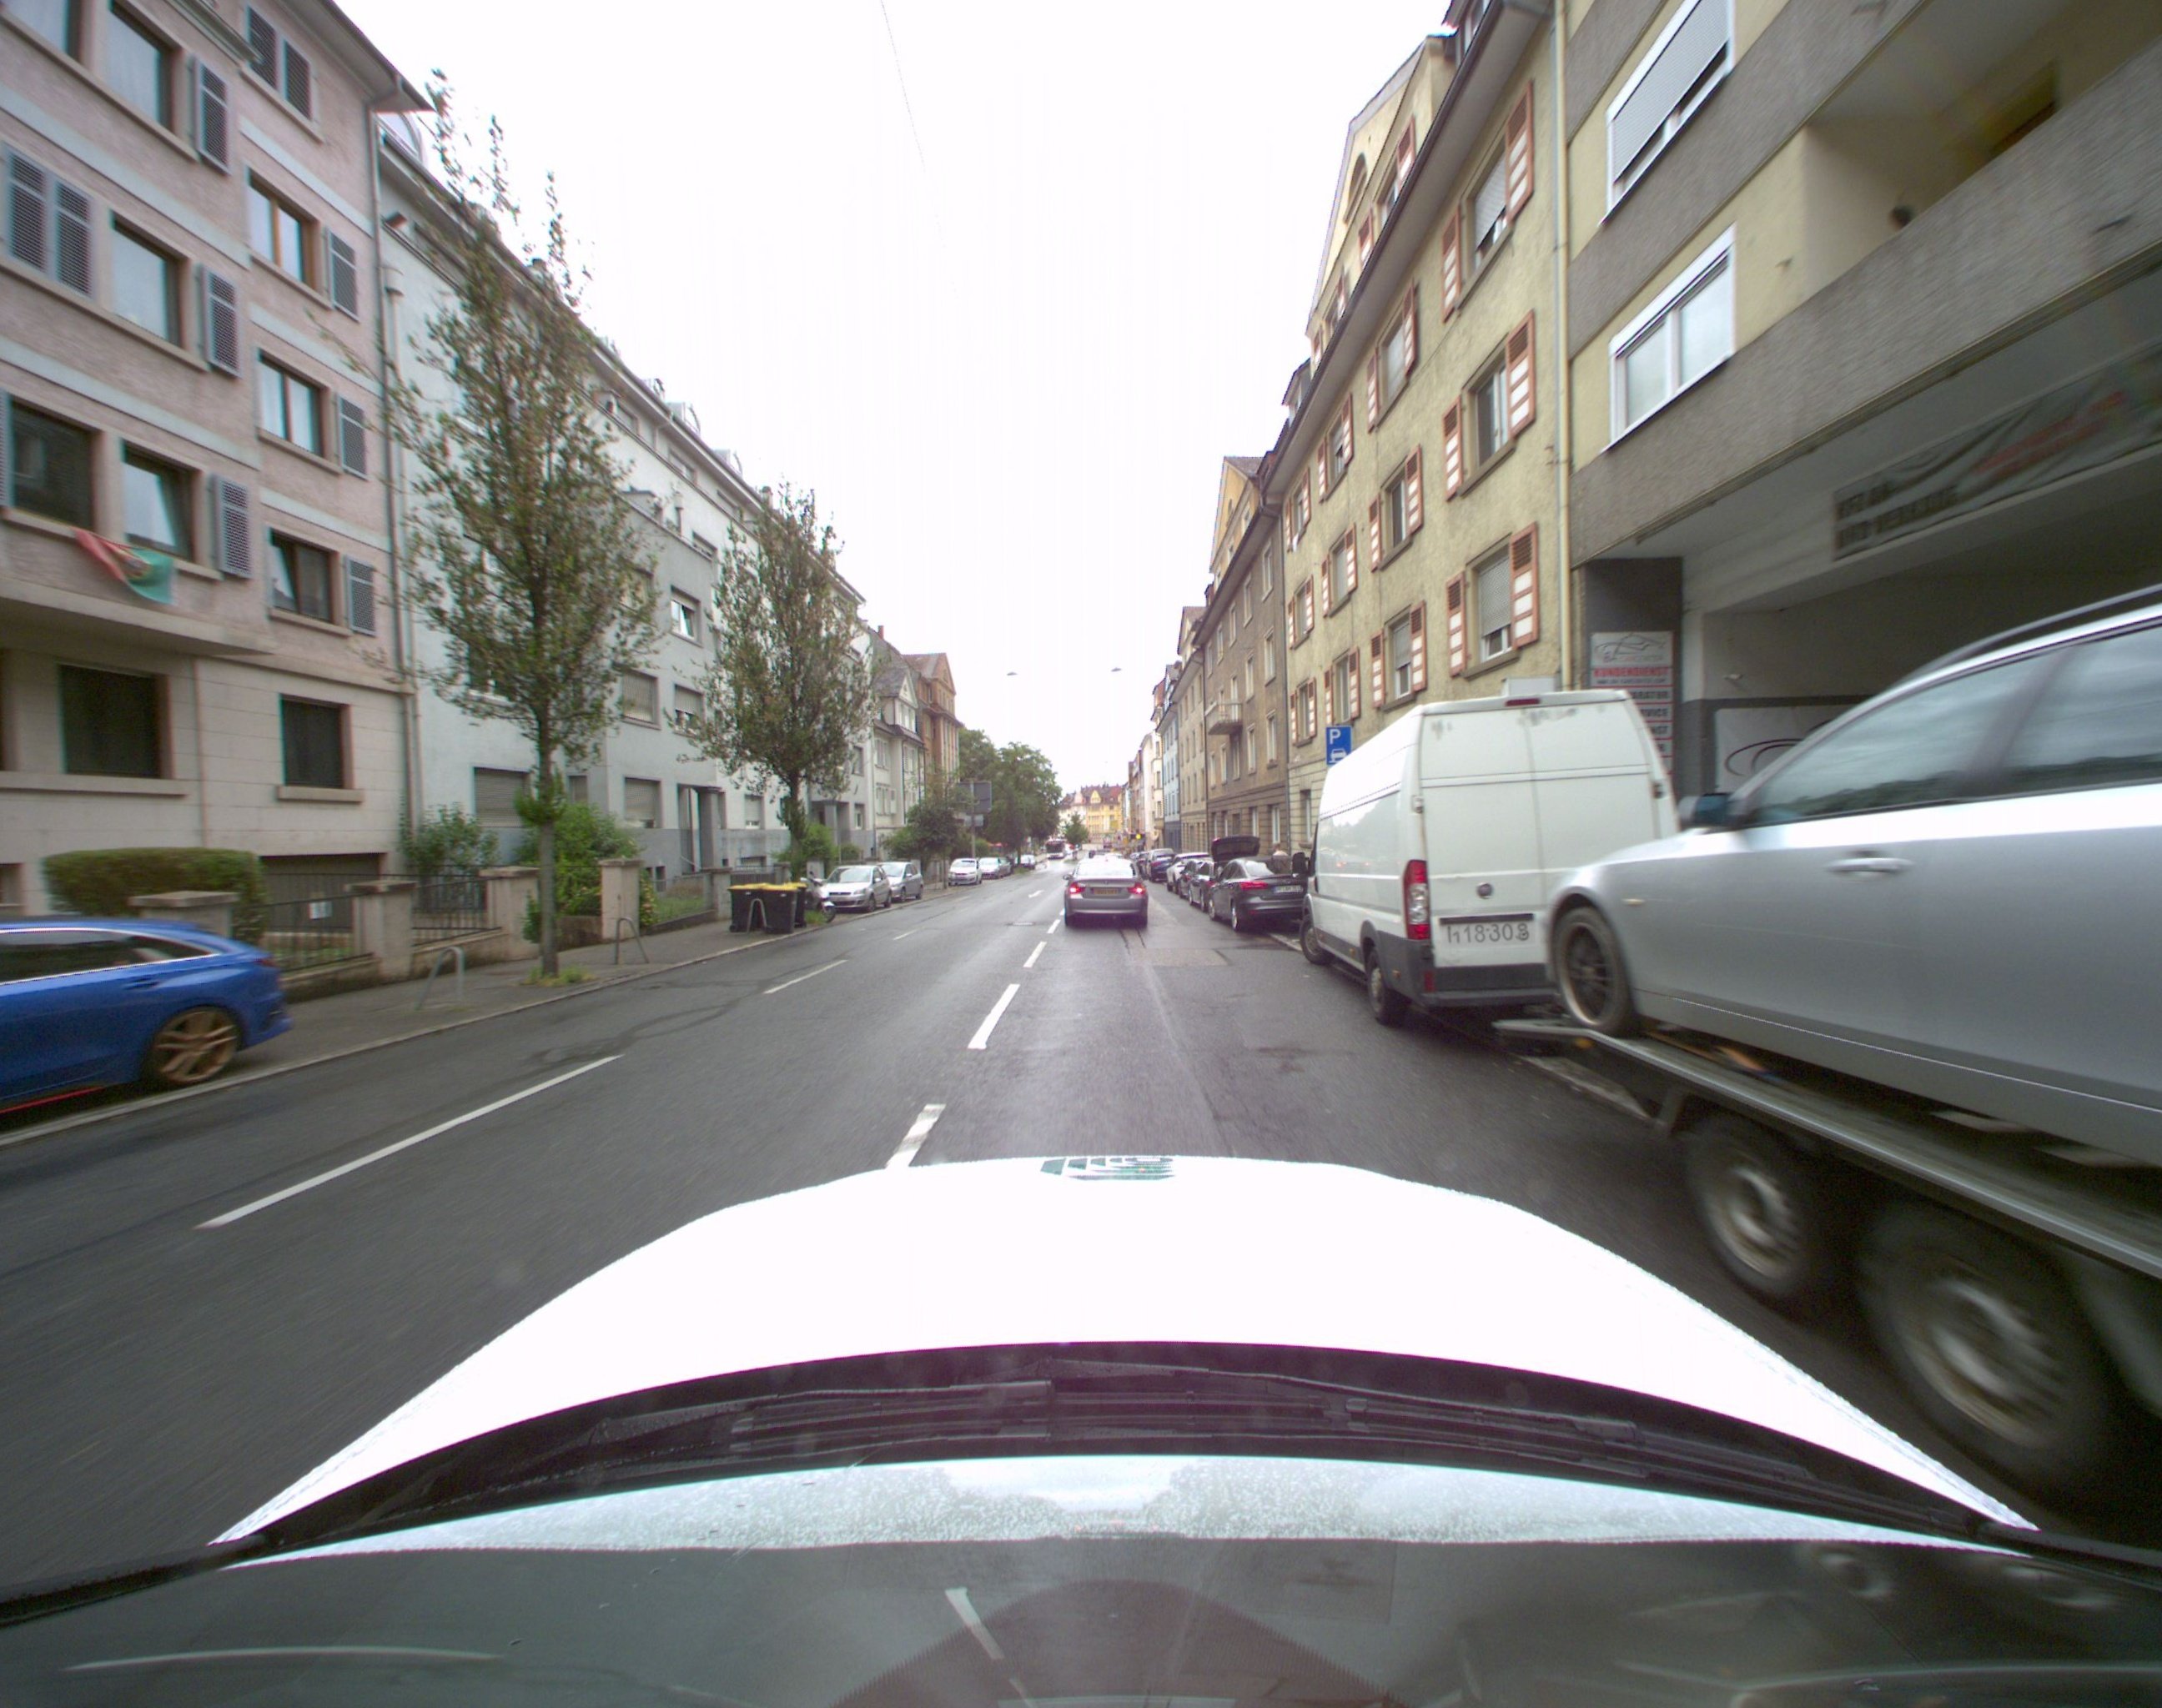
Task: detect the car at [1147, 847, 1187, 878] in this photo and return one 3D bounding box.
[{"bbox_3d":[4.670,0.427,44.601,1.784,1.548,4.227,-3,0,2],"label":"car"}]

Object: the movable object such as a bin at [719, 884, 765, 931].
[{"bbox_3d":[-7.849,1.227,18.887,0.821,1.058,0.484,1,-1,2],"label":"movable object such as a bin"}]

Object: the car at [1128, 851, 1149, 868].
[{"bbox_3d":[5.577,0.544,78.951,1.811,1.558,4.295,-3,0,2],"label":"car"}]

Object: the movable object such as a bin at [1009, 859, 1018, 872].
[{"bbox_3d":[-5.656,0.993,68.056,0.627,1.058,0.600,-1,-1,1],"label":"movable object such as a bin"}]

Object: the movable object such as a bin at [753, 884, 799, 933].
[{"bbox_3d":[-6.921,1.237,18.489,0.821,1.058,0.484,2,-1,2],"label":"movable object such as a bin"}]

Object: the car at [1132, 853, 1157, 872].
[{"bbox_3d":[5.197,0.656,67.158,1.723,1.429,3.974,-4,0,1],"label":"car"}]

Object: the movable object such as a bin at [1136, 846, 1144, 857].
[{"bbox_3d":[9.384,-0.435,129.516,1.119,1.702,1.433,-2,-1,-1],"label":"movable object such as a bin"}]

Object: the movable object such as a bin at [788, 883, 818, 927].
[{"bbox_3d":[-6.875,1.253,20.122,0.522,1.058,0.484,2,-1,2],"label":"movable object such as a bin"}]

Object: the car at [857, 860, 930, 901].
[{"bbox_3d":[-7.115,0.966,31.306,1.593,1.451,3.892,-1,-1,5],"label":"car"}]

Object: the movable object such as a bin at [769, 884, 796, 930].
[{"bbox_3d":[-7.041,1.249,19.245,0.471,1.058,0.482,2,-1,-8],"label":"movable object such as a bin"}]

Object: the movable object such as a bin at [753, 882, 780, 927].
[{"bbox_3d":[-7.700,1.239,19.939,0.471,1.058,0.482,2,-1,-8],"label":"movable object such as a bin"}]

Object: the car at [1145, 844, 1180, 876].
[{"bbox_3d":[5.042,0.363,51.090,1.784,1.817,4.080,-3,0,1],"label":"car"}]

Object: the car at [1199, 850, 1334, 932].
[{"bbox_3d":[3.766,0.708,17.272,1.773,1.479,4.186,-1,-1,-2],"label":"car"}]

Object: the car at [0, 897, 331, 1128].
[{"bbox_3d":[-7.752,1.076,5.149,1.673,1.386,4.603,-1,-1,1],"label":"car"}]

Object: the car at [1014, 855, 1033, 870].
[{"bbox_3d":[-5.810,0.875,82.341,1.648,1.454,3.941,-1,0,0],"label":"car"}]

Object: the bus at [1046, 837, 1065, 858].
[{"bbox_3d":[-4.135,-1.005,136.016,2.672,3.201,11.954,2,-1,0],"label":"bus"}]

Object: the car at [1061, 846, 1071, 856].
[{"bbox_3d":[-3.068,-0.700,172.244,1.987,2.014,3.999,2,-1,0],"label":"car"}]

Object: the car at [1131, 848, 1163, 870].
[{"bbox_3d":[4.659,0.329,57.773,1.835,1.409,4.387,-3,0,0],"label":"car"}]

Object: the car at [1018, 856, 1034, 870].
[{"bbox_3d":[-5.808,0.922,86.750,1.628,1.454,3.836,-1,0,-3],"label":"car"}]

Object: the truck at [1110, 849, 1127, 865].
[{"bbox_3d":[5.609,0.454,122.387,2.210,2.116,4.649,3,0,-2],"label":"truck"}]

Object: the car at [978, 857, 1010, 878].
[{"bbox_3d":[-6.041,0.902,57.062,1.676,1.390,3.911,0,0,2],"label":"car"}]

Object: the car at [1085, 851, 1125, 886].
[{"bbox_3d":[1.040,0.646,36.689,1.597,1.420,3.286,2,-1,-1],"label":"car"}]

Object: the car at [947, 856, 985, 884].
[{"bbox_3d":[-6.584,0.922,46.878,1.640,1.508,3.795,-1,-1,0],"label":"car"}]

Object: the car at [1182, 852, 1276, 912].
[{"bbox_3d":[4.020,0.736,22.876,1.772,1.479,4.587,-1,-1,0],"label":"car"}]

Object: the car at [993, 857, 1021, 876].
[{"bbox_3d":[-5.777,0.955,64.255,1.676,1.390,3.937,-2,0,2],"label":"car"}]

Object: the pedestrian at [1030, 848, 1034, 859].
[{"bbox_3d":[-7.812,-0.101,130.127,0.542,1.709,0.465,2,-1,-6],"label":"pedestrian"}]

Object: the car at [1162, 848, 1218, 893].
[{"bbox_3d":[4.352,0.636,33.025,1.627,1.638,4.194,2,0,0],"label":"car"}]

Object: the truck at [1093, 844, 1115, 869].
[{"bbox_3d":[2.492,0.292,89.741,2.209,2.544,4.779,2,-1,0],"label":"truck"}]

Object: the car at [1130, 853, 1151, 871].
[{"bbox_3d":[5.209,0.696,71.504,1.577,1.429,3.595,-4,0,1],"label":"car"}]

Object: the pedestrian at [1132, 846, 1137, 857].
[{"bbox_3d":[8.521,-0.391,129.462,0.746,1.661,0.756,2,-1,7],"label":"pedestrian"}]

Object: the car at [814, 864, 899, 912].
[{"bbox_3d":[-7.139,1.035,26.240,1.595,1.396,3.887,-1,-1,0],"label":"car"}]

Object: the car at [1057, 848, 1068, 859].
[{"bbox_3d":[-3.499,-0.050,156.724,1.987,2.014,3.999,2,-1,0],"label":"car"}]

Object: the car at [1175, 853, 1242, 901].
[{"bbox_3d":[4.234,0.731,27.505,1.627,1.478,3.734,2,0,0],"label":"car"}]

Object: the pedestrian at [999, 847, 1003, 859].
[{"bbox_3d":[-12.185,-0.120,124.018,0.464,1.790,0.543,2,-1,-6],"label":"pedestrian"}]

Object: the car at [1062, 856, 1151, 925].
[{"bbox_3d":[0.543,0.749,17.737,1.749,1.362,3.165,0,-1,1],"label":"car"}]

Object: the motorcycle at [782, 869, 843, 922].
[{"bbox_3d":[-7.181,1.089,21.748,1.788,1.315,0.746,-2,0,42],"label":"motorcycle"}]

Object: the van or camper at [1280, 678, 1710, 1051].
[{"bbox_3d":[3.820,0.080,9.225,2.173,2.699,6.431,-2,0,6],"label":"van or camper"}]

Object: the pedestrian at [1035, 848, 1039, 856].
[{"bbox_3d":[-7.826,-0.421,145.899,0.617,1.378,0.545,2,-1,2],"label":"pedestrian"}]

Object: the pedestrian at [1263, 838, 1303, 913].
[{"bbox_3d":[5.002,0.525,20.145,0.704,1.787,0.691,-4,-1,31],"label":"pedestrian"}]

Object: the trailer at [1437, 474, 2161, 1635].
[{"bbox_3d":[3.030,0.327,2.359,1.985,2.152,5.078,-3,1,4],"label":"trailer"}]

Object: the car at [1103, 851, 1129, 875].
[{"bbox_3d":[2.098,0.540,48.054,1.430,1.356,3.764,2,-1,3],"label":"car"}]
